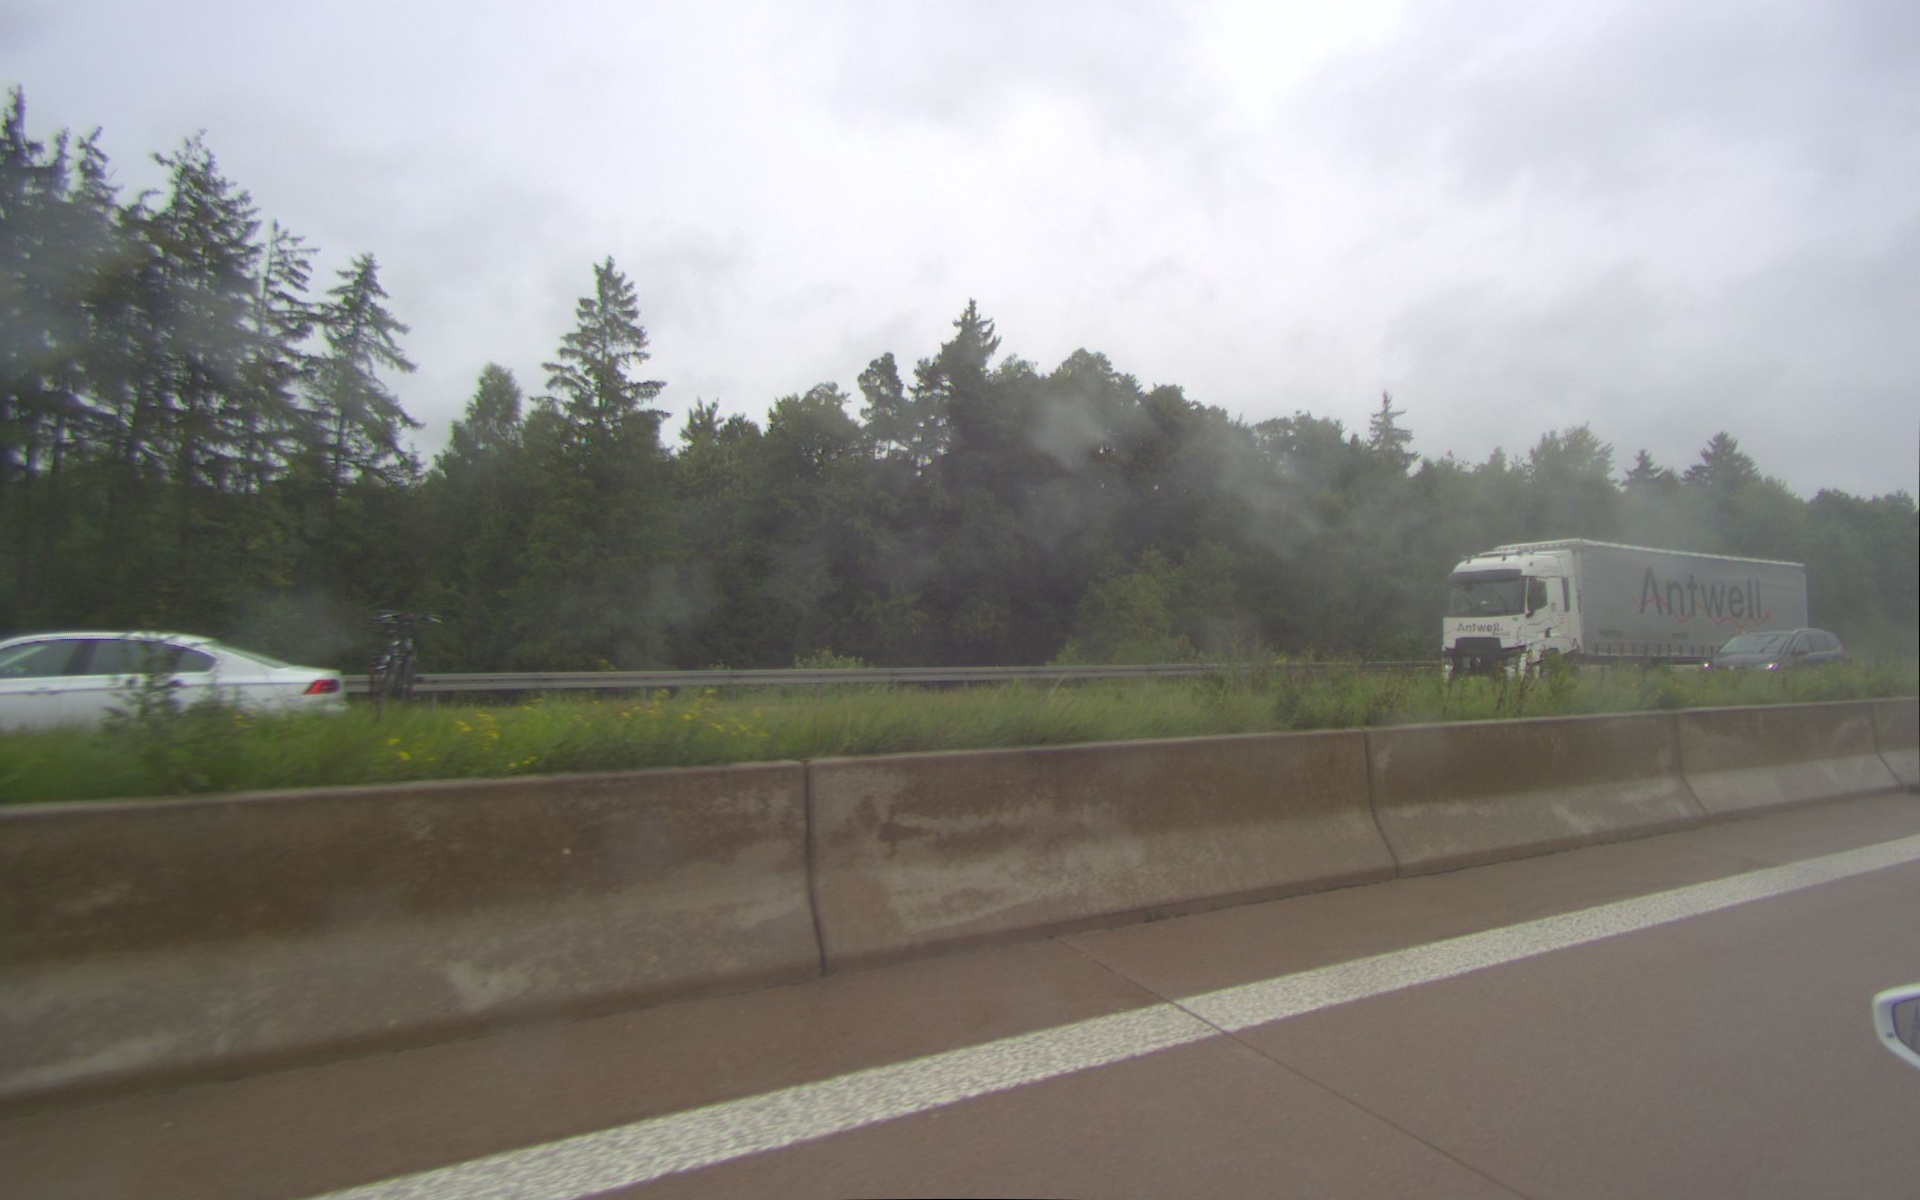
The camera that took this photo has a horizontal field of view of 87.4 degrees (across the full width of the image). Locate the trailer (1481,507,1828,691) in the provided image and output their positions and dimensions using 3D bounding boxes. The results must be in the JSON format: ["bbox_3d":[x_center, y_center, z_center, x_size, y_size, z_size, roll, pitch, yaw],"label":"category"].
[{"bbox_3d":[22.762,0.100,32.493,13.519,5.019,3.737,1,0,-30],"label":"trailer"}]

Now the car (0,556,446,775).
[{"bbox_3d":[-8.686,0.612,10.595,5.689,2.004,2.295,1,0,-30],"label":"car"}]

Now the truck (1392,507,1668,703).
[{"bbox_3d":[16.329,0.216,28.742,7.169,4.935,3.662,2,0,-30],"label":"truck"}]

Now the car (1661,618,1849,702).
[{"bbox_3d":[21.496,1.555,27.125,5.091,2.040,2.295,1,0,-30],"label":"car"}]
